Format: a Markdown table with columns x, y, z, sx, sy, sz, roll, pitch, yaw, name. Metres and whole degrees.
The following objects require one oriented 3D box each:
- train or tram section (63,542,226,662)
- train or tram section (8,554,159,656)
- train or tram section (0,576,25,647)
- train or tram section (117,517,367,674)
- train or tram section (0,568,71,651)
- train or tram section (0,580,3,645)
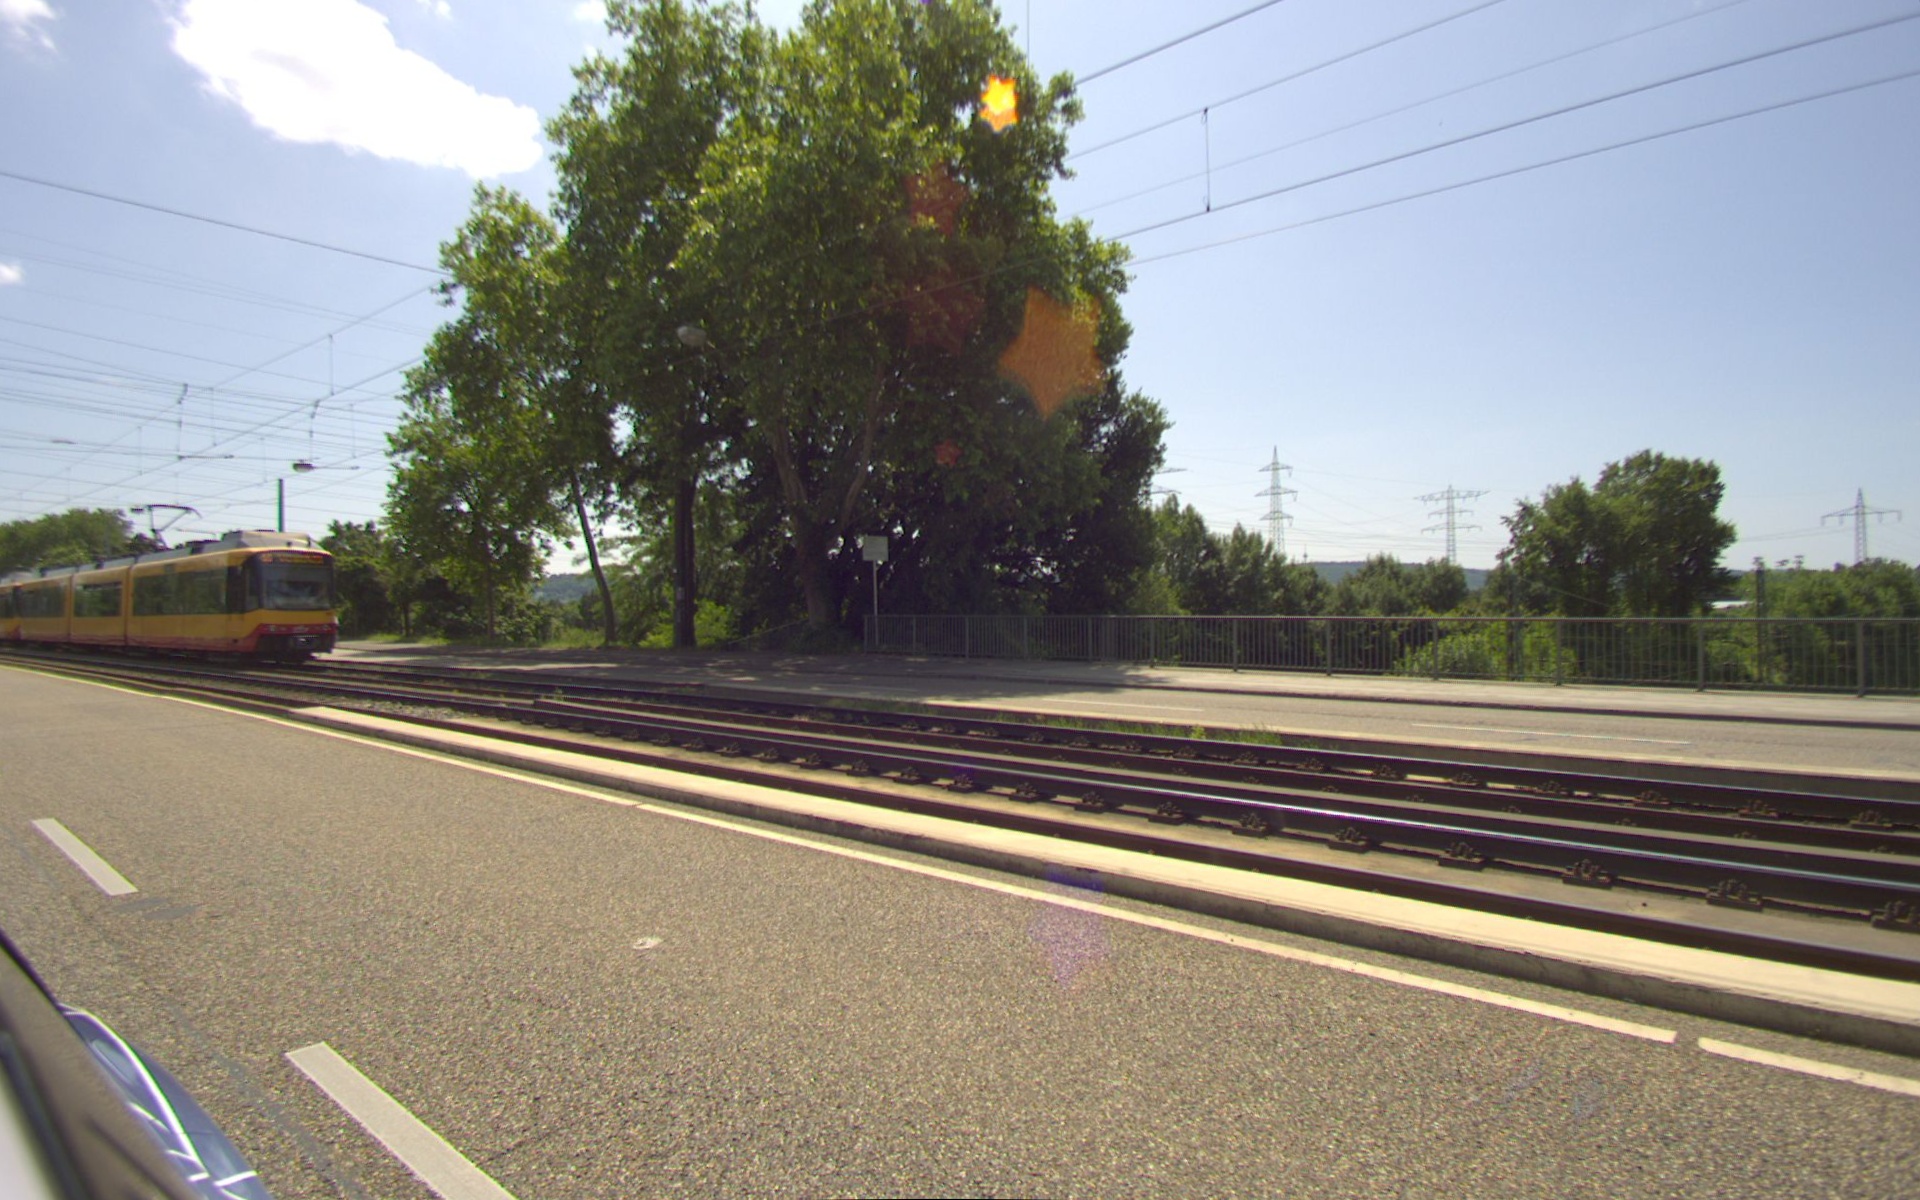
| x | y | z | sx | sy | sz | roll | pitch | yaw | name |
| --- | --- | --- | --- | --- | --- | --- | --- | --- | --- |
| -32.198 | 0.146 | 39.751 | 10.224 | 4.180 | 3.007 | -1 | -1 | 40 | train or tram section |
| -40.764 | 0.315 | 46.817 | 13.467 | 4.186 | 3.008 | -1 | -1 | 39 | train or tram section |
| -61.886 | 0.766 | 63.931 | 7.994 | 4.300 | 3.018 | -1 | -1 | 39 | train or tram section |
| -23.423 | -0.010 | 32.443 | 13.968 | 4.172 | 3.007 | -1 | -1 | 40 | train or tram section |
| -53.875 | 0.605 | 57.374 | 14.021 | 4.300 | 3.018 | -1 | -1 | 39 | train or tram section |
| -70.482 | 0.934 | 71.025 | 15.408 | 4.300 | 3.018 | -1 | -1 | 40 | train or tram section |
